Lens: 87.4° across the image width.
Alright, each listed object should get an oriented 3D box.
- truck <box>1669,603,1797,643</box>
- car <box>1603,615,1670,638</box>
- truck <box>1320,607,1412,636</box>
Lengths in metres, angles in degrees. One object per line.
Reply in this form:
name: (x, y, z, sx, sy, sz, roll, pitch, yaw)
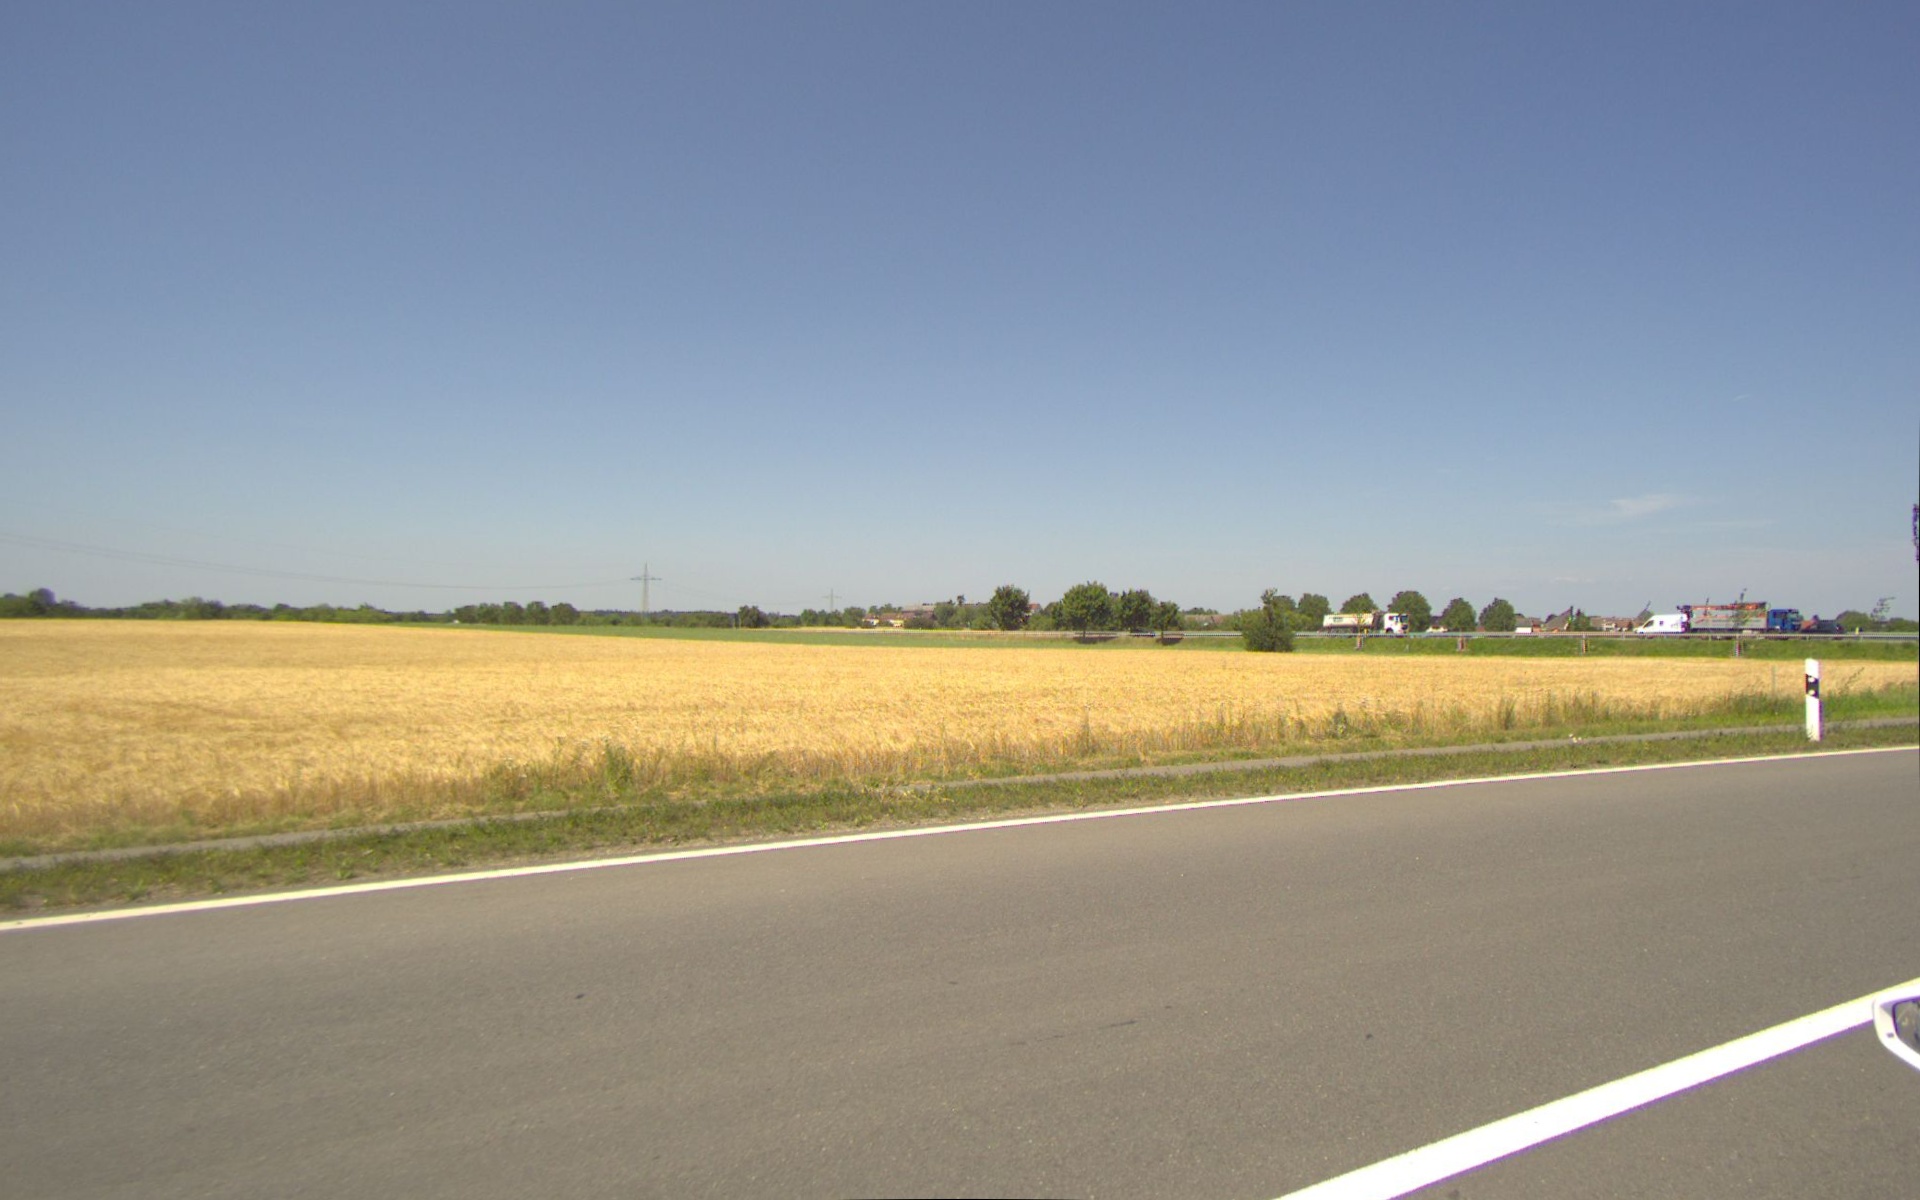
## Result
truck: (77.754, 2.258, 101.313, 2.596, 3.844, 10.029, 1, 0, -31)
car: (75.772, 2.935, 112.672, 2.221, 2.454, 5.890, 1, 0, -29)
truck: (55.053, 2.878, 136.681, 2.953, 3.663, 11.911, 1, 0, -35)
